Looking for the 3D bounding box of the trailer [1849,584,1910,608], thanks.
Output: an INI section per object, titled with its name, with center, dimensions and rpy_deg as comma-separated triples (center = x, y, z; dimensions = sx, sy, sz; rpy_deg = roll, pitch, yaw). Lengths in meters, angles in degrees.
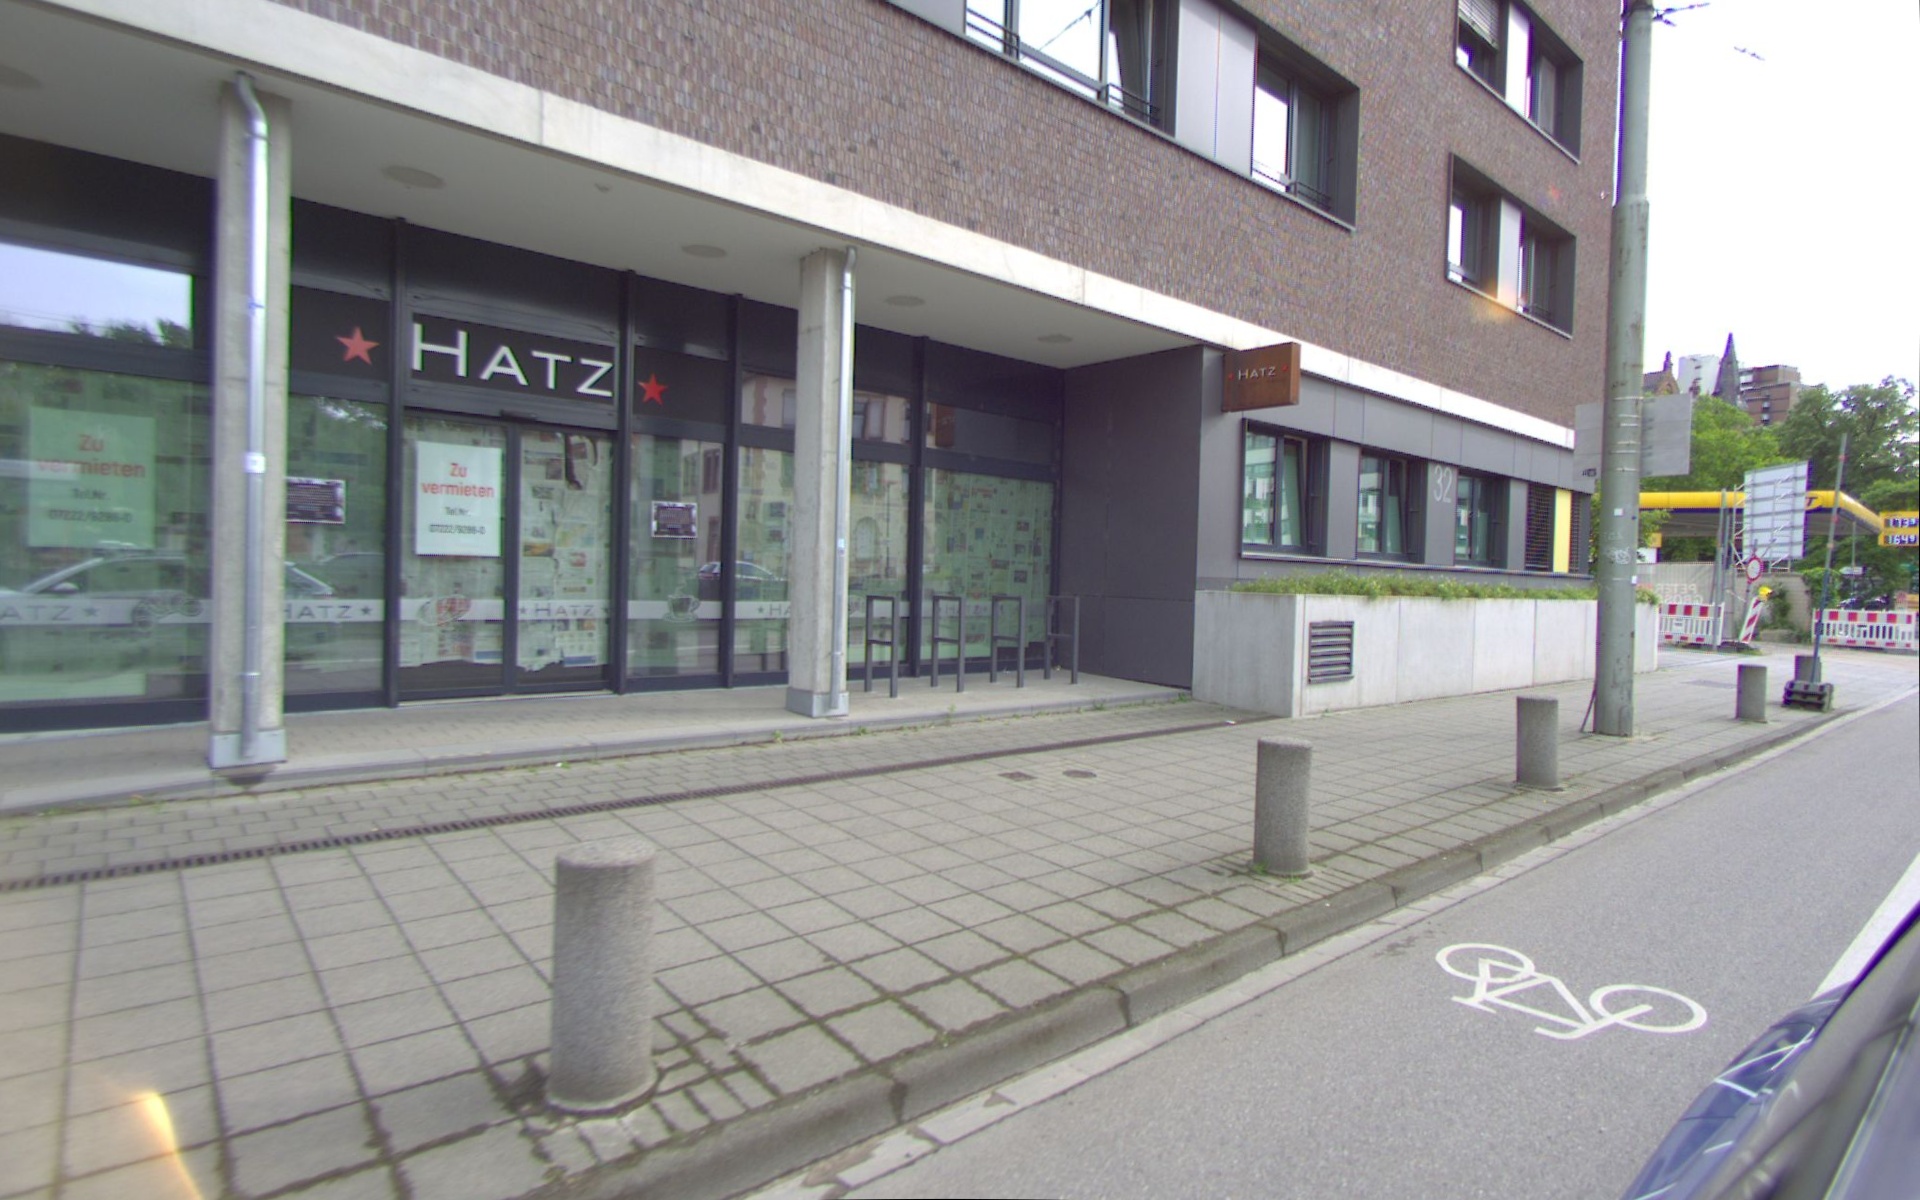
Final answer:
[trailer]
center = 69.398, -0.300, 76.391
dimensions = 3.283, 1.549, 1.747
rpy_deg = 5, 6, 43
